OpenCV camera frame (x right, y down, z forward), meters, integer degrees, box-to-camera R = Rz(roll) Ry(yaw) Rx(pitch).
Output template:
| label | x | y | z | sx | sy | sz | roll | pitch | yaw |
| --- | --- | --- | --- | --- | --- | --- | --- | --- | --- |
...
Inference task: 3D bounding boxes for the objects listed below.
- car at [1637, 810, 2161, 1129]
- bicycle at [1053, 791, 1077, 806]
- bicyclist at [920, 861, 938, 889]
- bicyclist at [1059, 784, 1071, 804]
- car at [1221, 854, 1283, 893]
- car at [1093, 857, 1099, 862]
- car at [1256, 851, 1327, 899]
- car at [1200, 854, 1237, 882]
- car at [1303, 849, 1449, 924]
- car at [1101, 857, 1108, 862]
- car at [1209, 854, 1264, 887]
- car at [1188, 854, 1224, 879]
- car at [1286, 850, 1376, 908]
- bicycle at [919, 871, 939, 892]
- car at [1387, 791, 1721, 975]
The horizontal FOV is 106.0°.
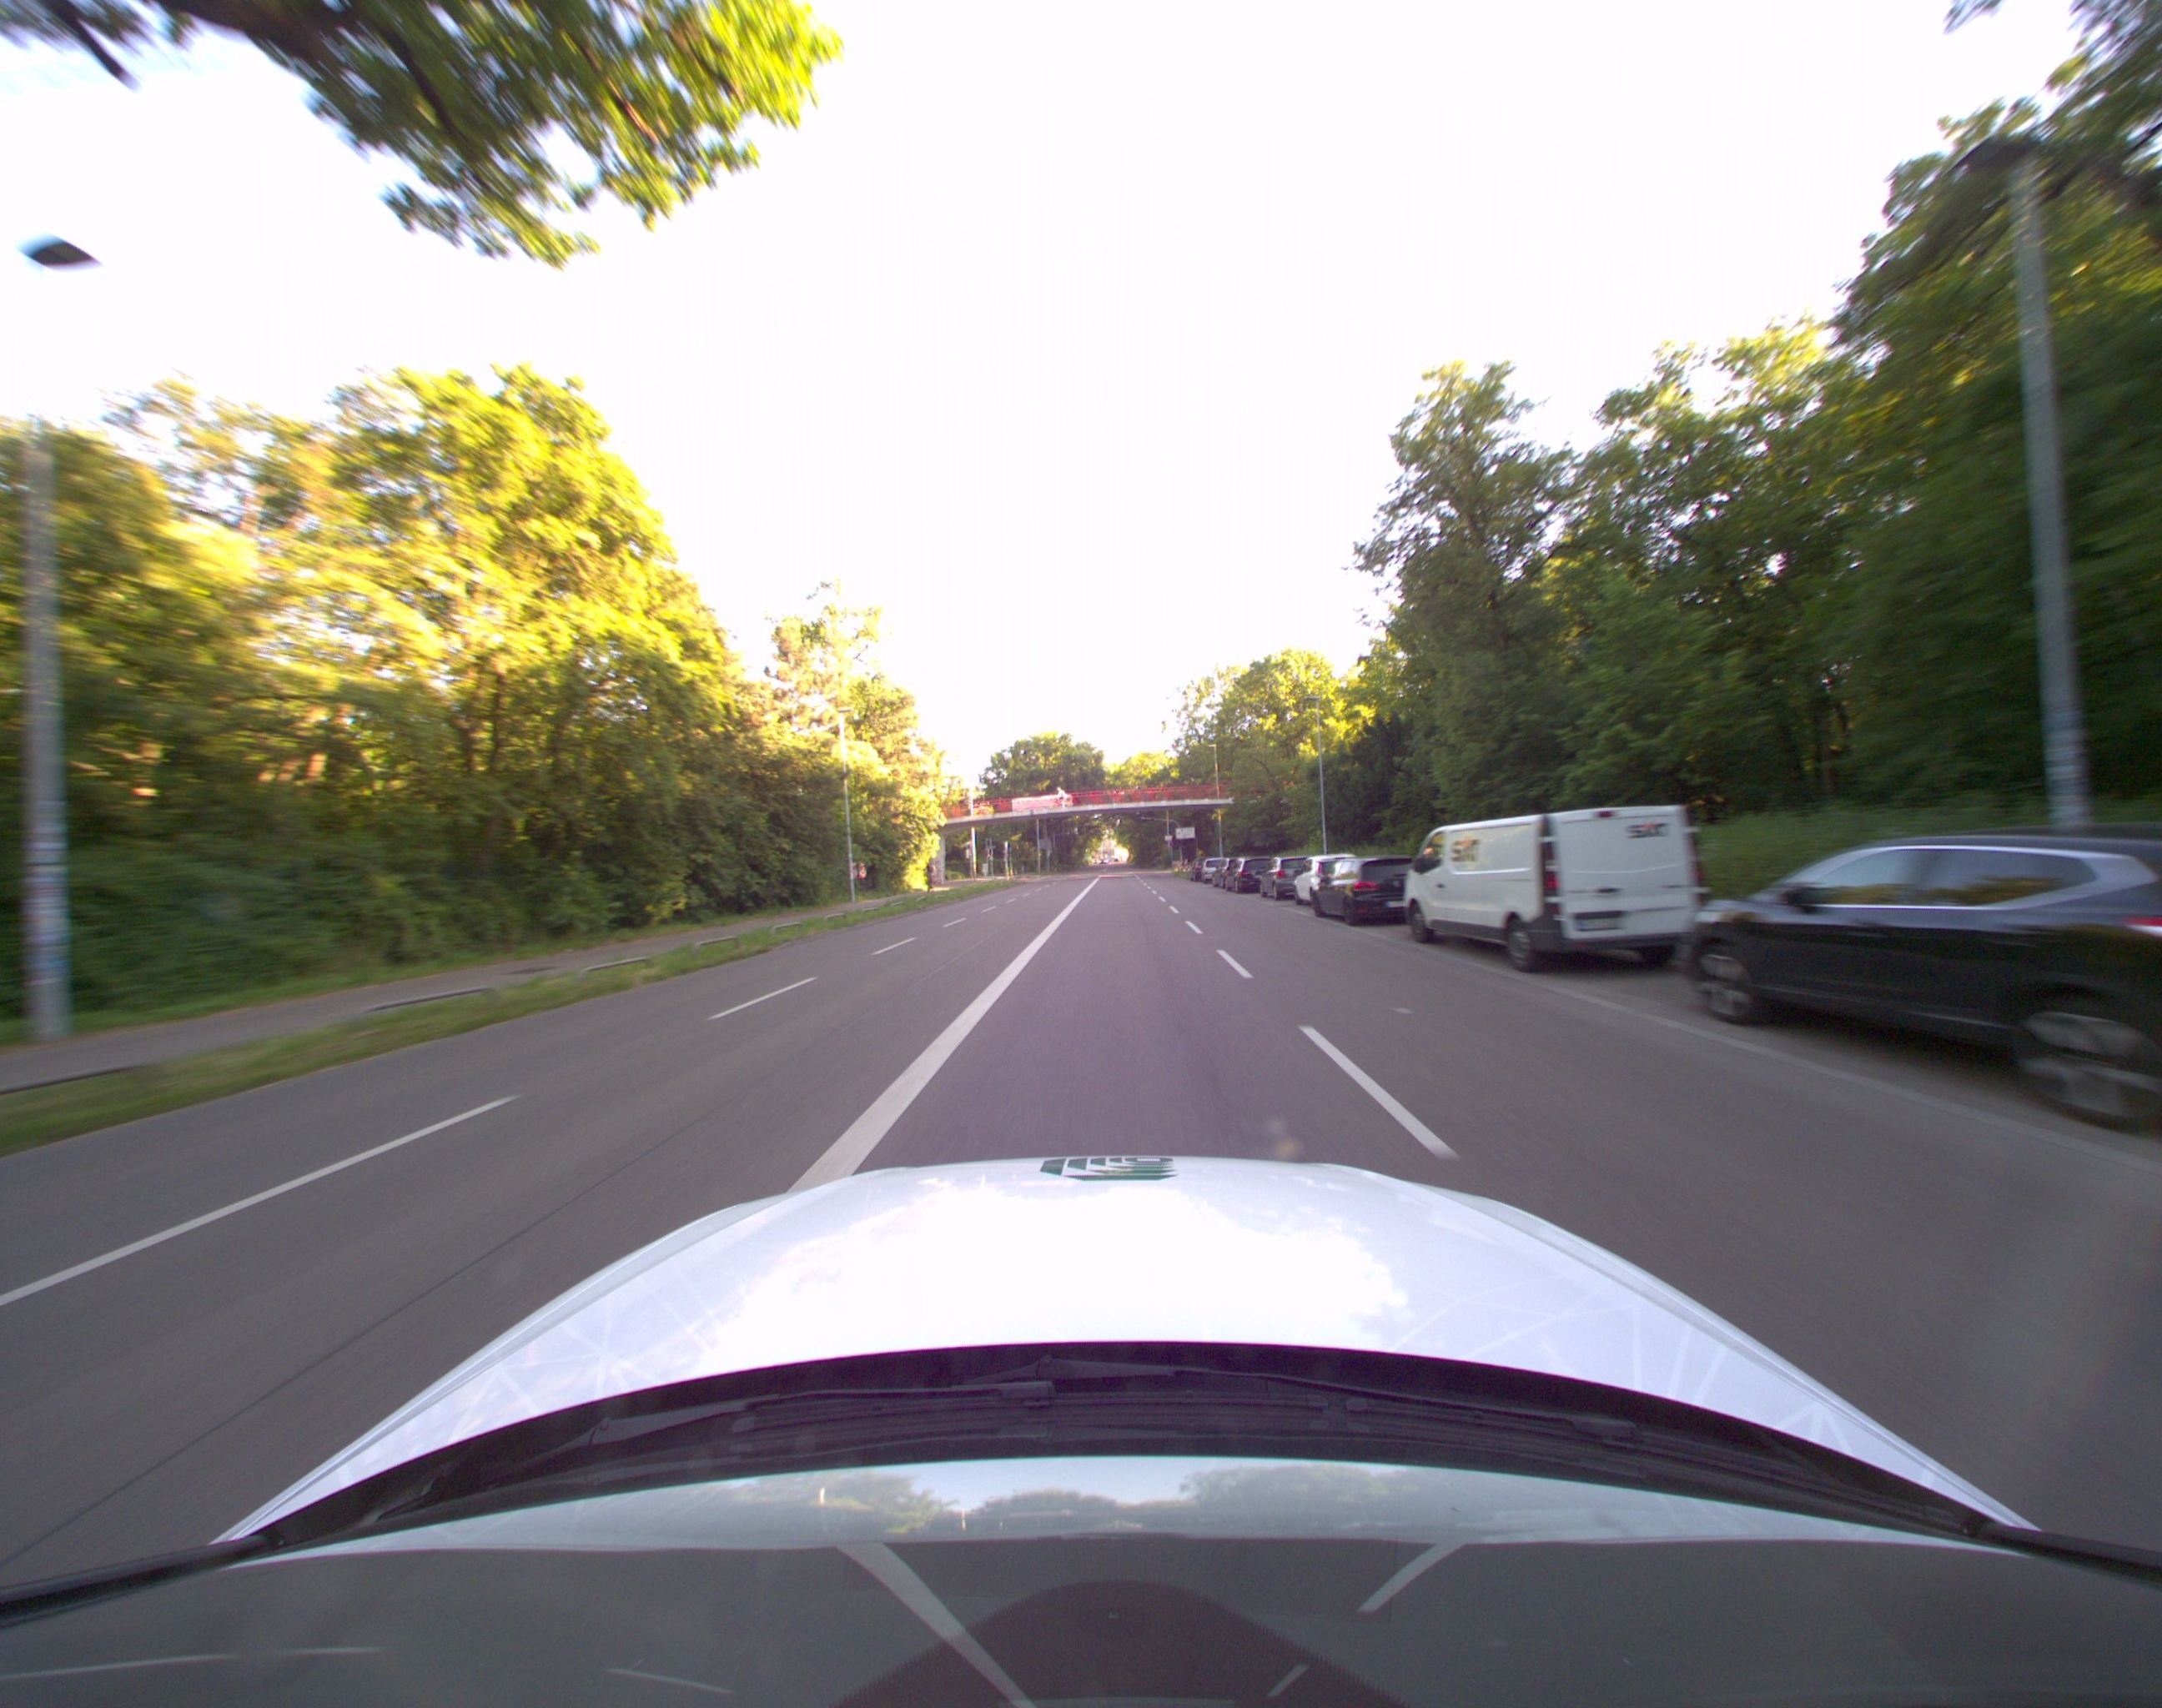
| label | x | y | z | sx | sy | sz | roll | pitch | yaw |
| --- | --- | --- | --- | --- | --- | --- | --- | --- | --- |
| car | 6.236 | 0.541 | 5.697 | 1.752 | 1.547 | 4.431 | -3 | -1 | 3 |
| bicycle | -1.314 | -4.550 | 66.788 | 1.980 | 1.147 | 0.714 | -1 | -1 | 0 |
| bicyclist | -8.708 | 1.203 | 46.717 | 0.709 | 1.559 | 1.143 | -1 | -1 | 2 |
| bicyclist | -1.328 | -4.935 | 66.795 | 0.967 | 1.586 | 0.714 | -1 | -1 | 0 |
| car | 7.198 | 0.783 | 34.798 | 1.631 | 1.453 | 4.898 | -3 | -1 | 1 |
| car | 4.932 | 1.775 | 260.135 | 1.791 | 1.506 | 4.365 | -3 | -1 | 1 |
| car | 7.256 | 0.702 | 28.427 | 1.579 | 1.453 | 3.946 | -3 | -1 | 3 |
| car | 7.996 | 0.787 | 47.712 | 1.766 | 1.453 | 4.020 | -3 | -1 | 5 |
| car | 6.534 | 0.668 | 18.616 | 1.861 | 1.406 | 4.372 | -3 | -1 | 3 |
| car | 6.449 | 1.521 | 225.026 | 1.881 | 1.506 | 4.365 | -3 | -1 | 1 |
| car | 7.600 | 0.789 | 40.226 | 1.768 | 1.453 | 5.038 | -3 | -1 | 1 |
| car | 7.952 | 0.781 | 52.128 | 1.767 | 1.453 | 4.391 | -3 | -1 | 3 |
| car | 7.193 | 0.686 | 23.771 | 1.579 | 1.453 | 3.802 | -3 | -1 | 4 |
| bicycle | -8.698 | 1.591 | 46.709 | 0.709 | 1.147 | 1.994 | -1 | -1 | 2 |
| car | 6.413 | 0.354 | 12.025 | 1.861 | 1.981 | 5.478 | -3 | -1 | 3 |
